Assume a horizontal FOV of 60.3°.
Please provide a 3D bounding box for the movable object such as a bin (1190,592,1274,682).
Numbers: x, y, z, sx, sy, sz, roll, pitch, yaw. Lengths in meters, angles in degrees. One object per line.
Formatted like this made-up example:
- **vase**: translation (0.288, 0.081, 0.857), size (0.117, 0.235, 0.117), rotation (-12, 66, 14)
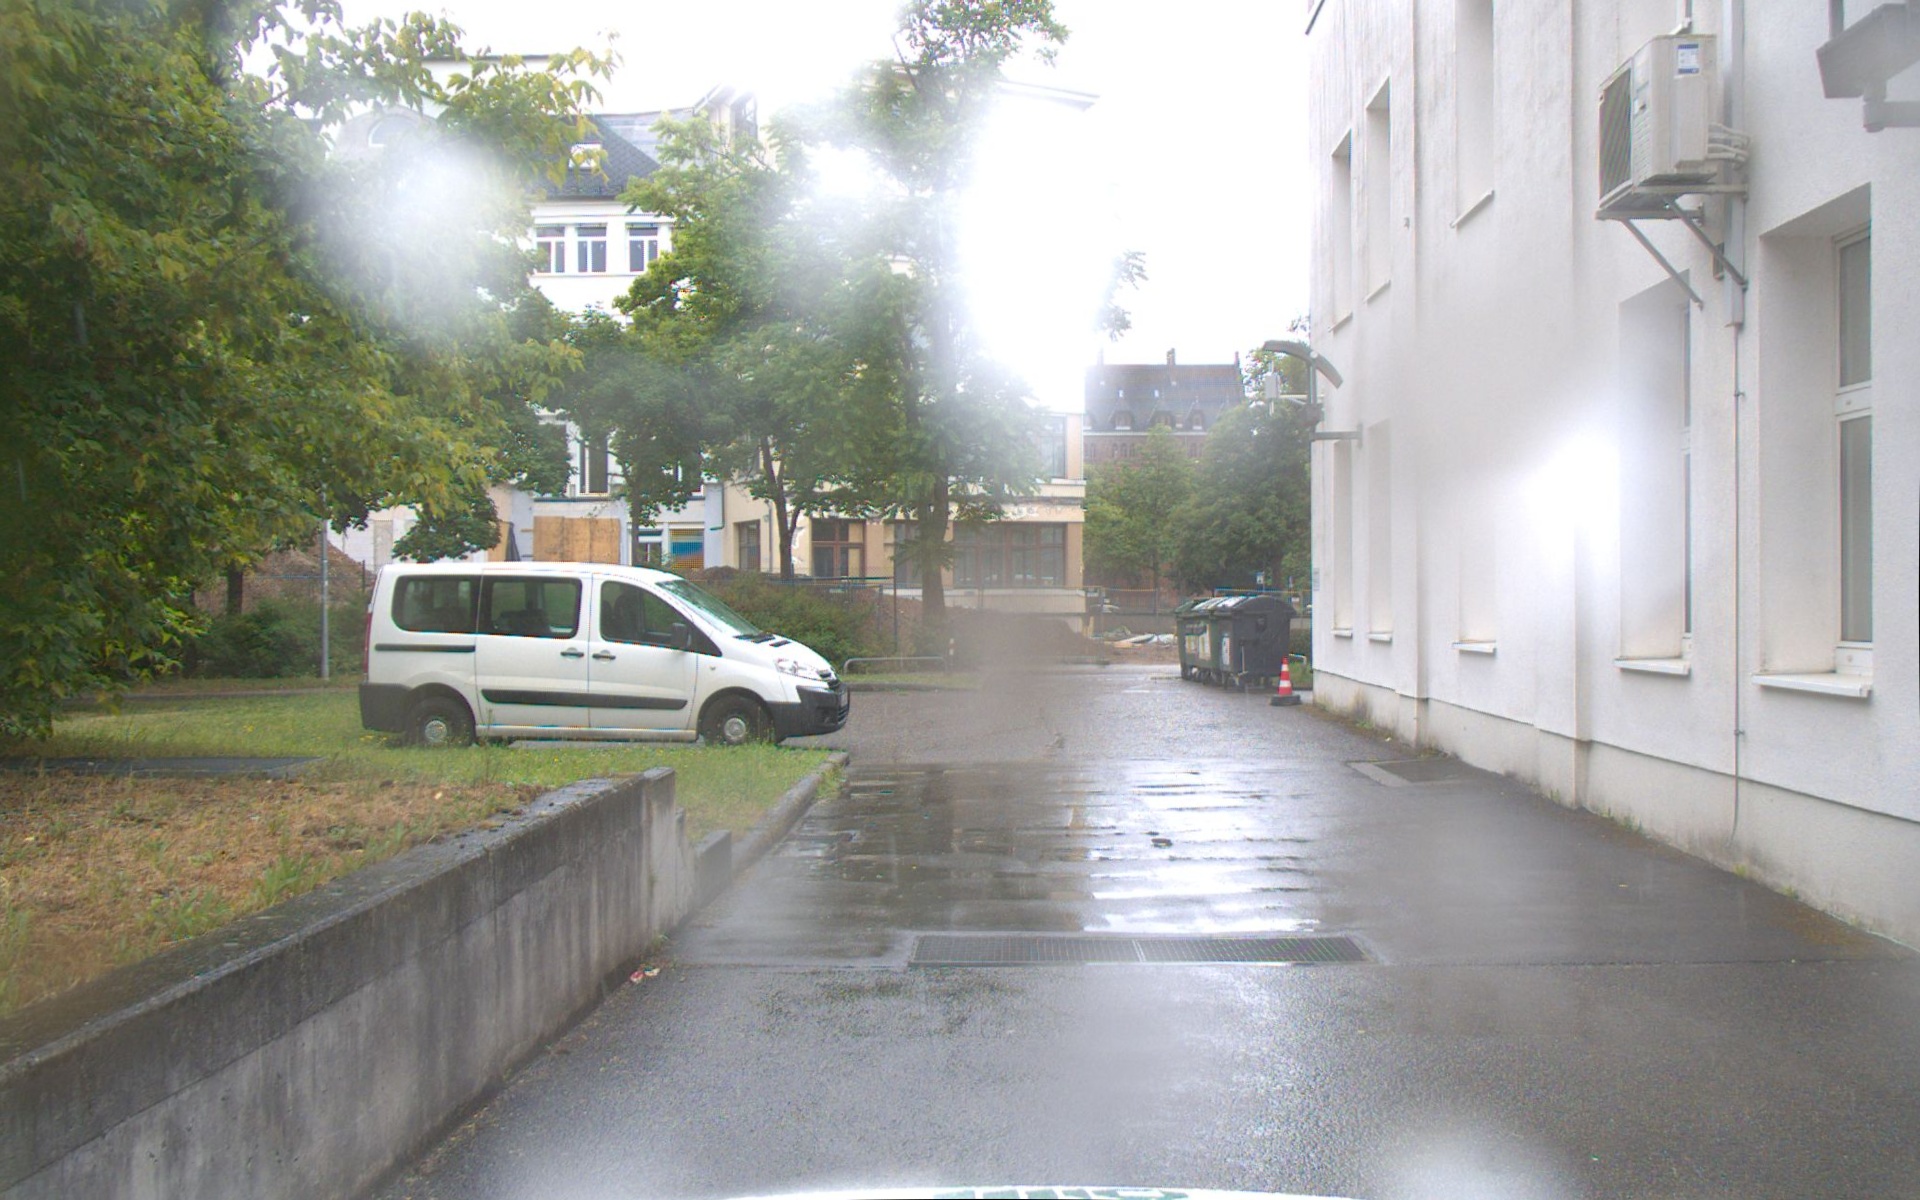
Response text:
- **movable object such as a bin**: translation (4.499, 0.619, 27.466), size (1.189, 1.462, 1.294), rotation (0, -2, 1)

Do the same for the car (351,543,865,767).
- **car**: translation (-3.433, 0.523, 16.764), size (4.680, 2.049, 2.001), rotation (-1, 0, 3)

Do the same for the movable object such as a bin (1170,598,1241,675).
- **movable object such as a bin**: translation (4.706, 0.713, 31.851), size (1.189, 1.462, 1.259), rotation (0, -2, 0)

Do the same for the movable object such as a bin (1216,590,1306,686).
- **movable object such as a bin**: translation (4.672, 0.604, 25.768), size (1.189, 1.462, 1.236), rotation (0, -2, 0)

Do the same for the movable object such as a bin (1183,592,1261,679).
- **movable object such as a bin**: translation (4.596, 0.641, 29.095), size (1.189, 1.494, 1.236), rotation (0, -2, 0)

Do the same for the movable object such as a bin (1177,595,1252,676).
- **movable object such as a bin**: translation (4.676, 0.659, 30.473), size (1.189, 1.462, 1.259), rotation (0, -2, 0)
